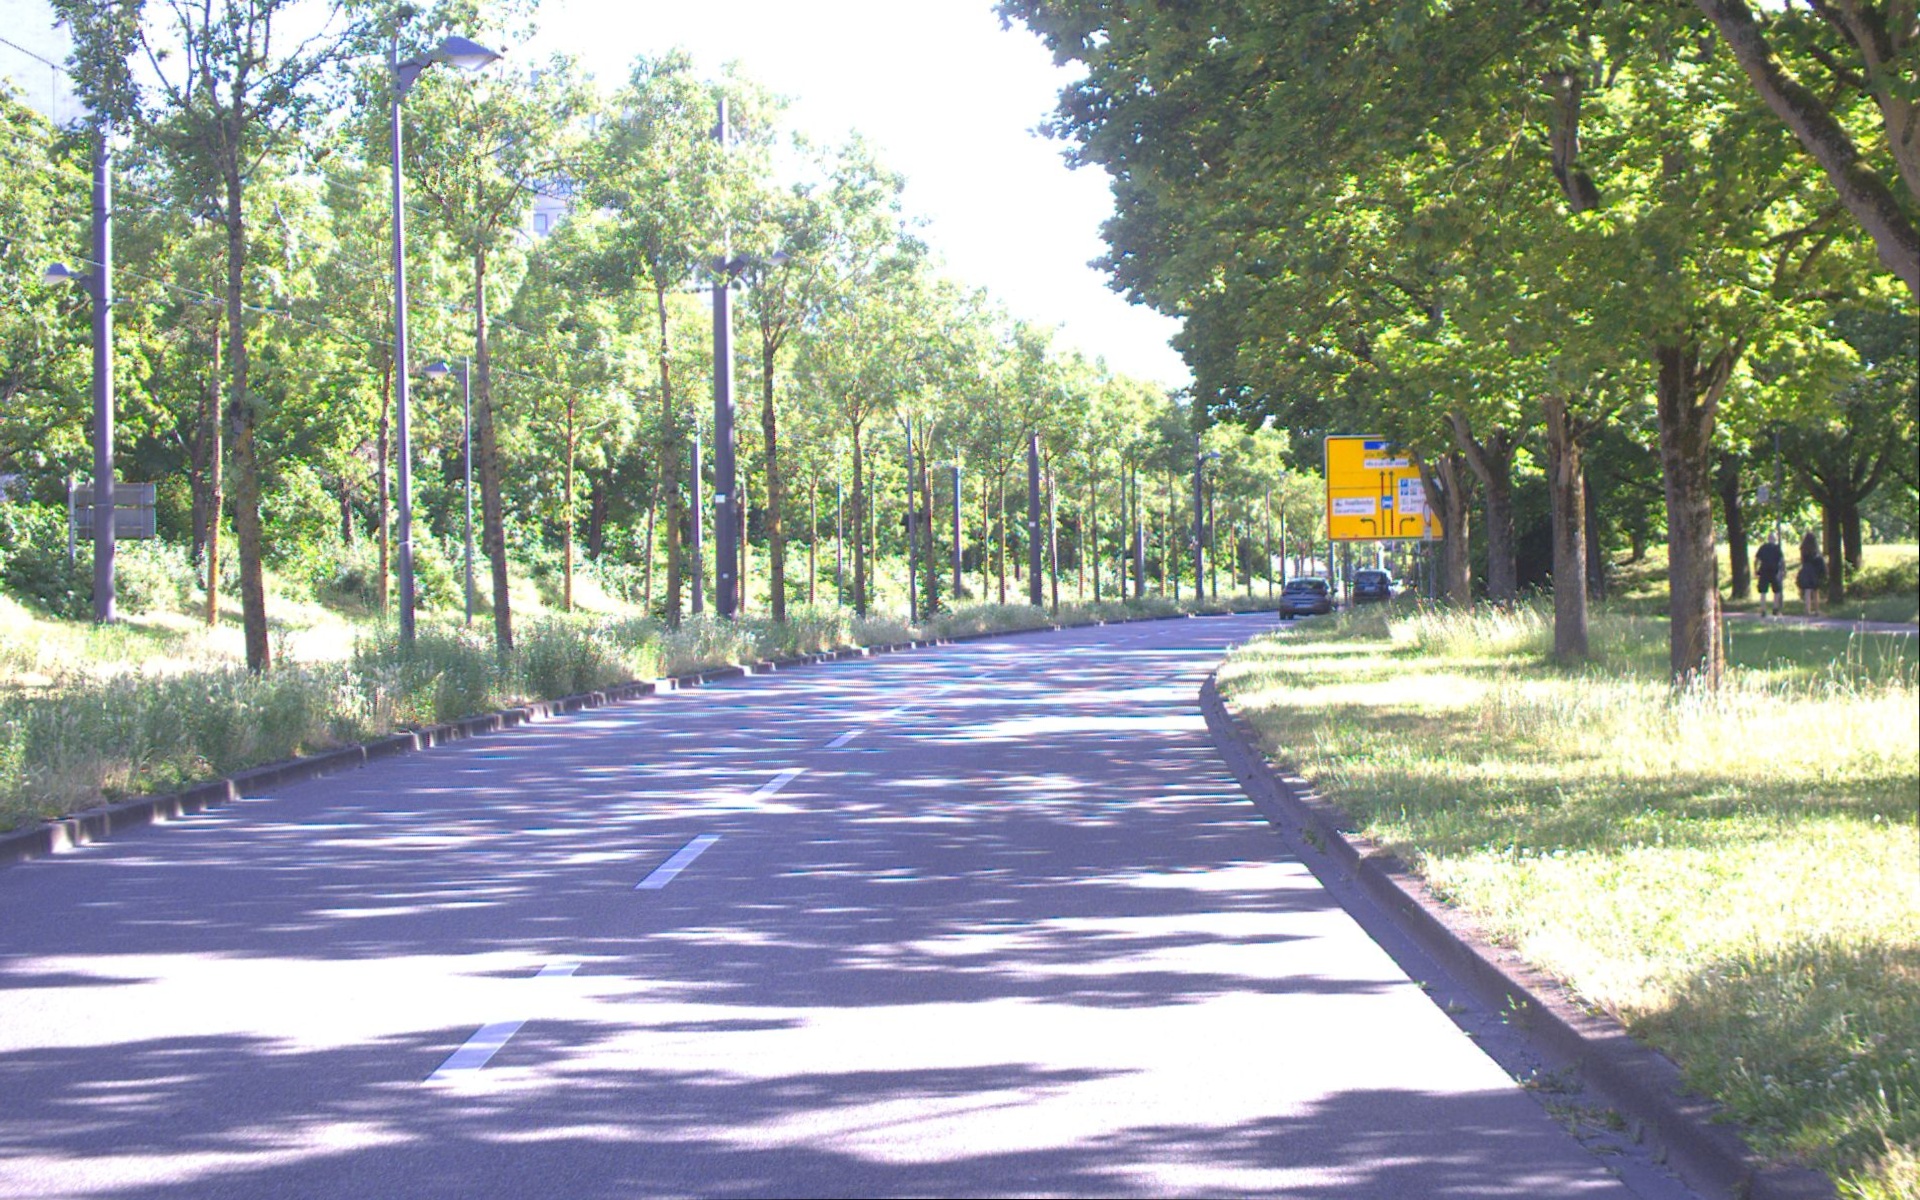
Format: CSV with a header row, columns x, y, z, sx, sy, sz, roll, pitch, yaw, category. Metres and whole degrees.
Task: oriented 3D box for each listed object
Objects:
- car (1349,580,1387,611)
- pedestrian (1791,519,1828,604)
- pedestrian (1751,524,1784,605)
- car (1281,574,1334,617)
x,y,z,sx,sy,sz,roll,pitch,yaw,category
20.047,-0.225,169.024,1.635,1.493,4.233,0,0,10,car
17.107,-0.765,69.248,0.636,1.686,0.843,-1,0,18,pedestrian
16.327,-0.712,69.508,0.547,1.616,0.843,-1,0,18,pedestrian
12.239,-0.182,120.964,1.635,1.493,4.233,0,0,9,car
